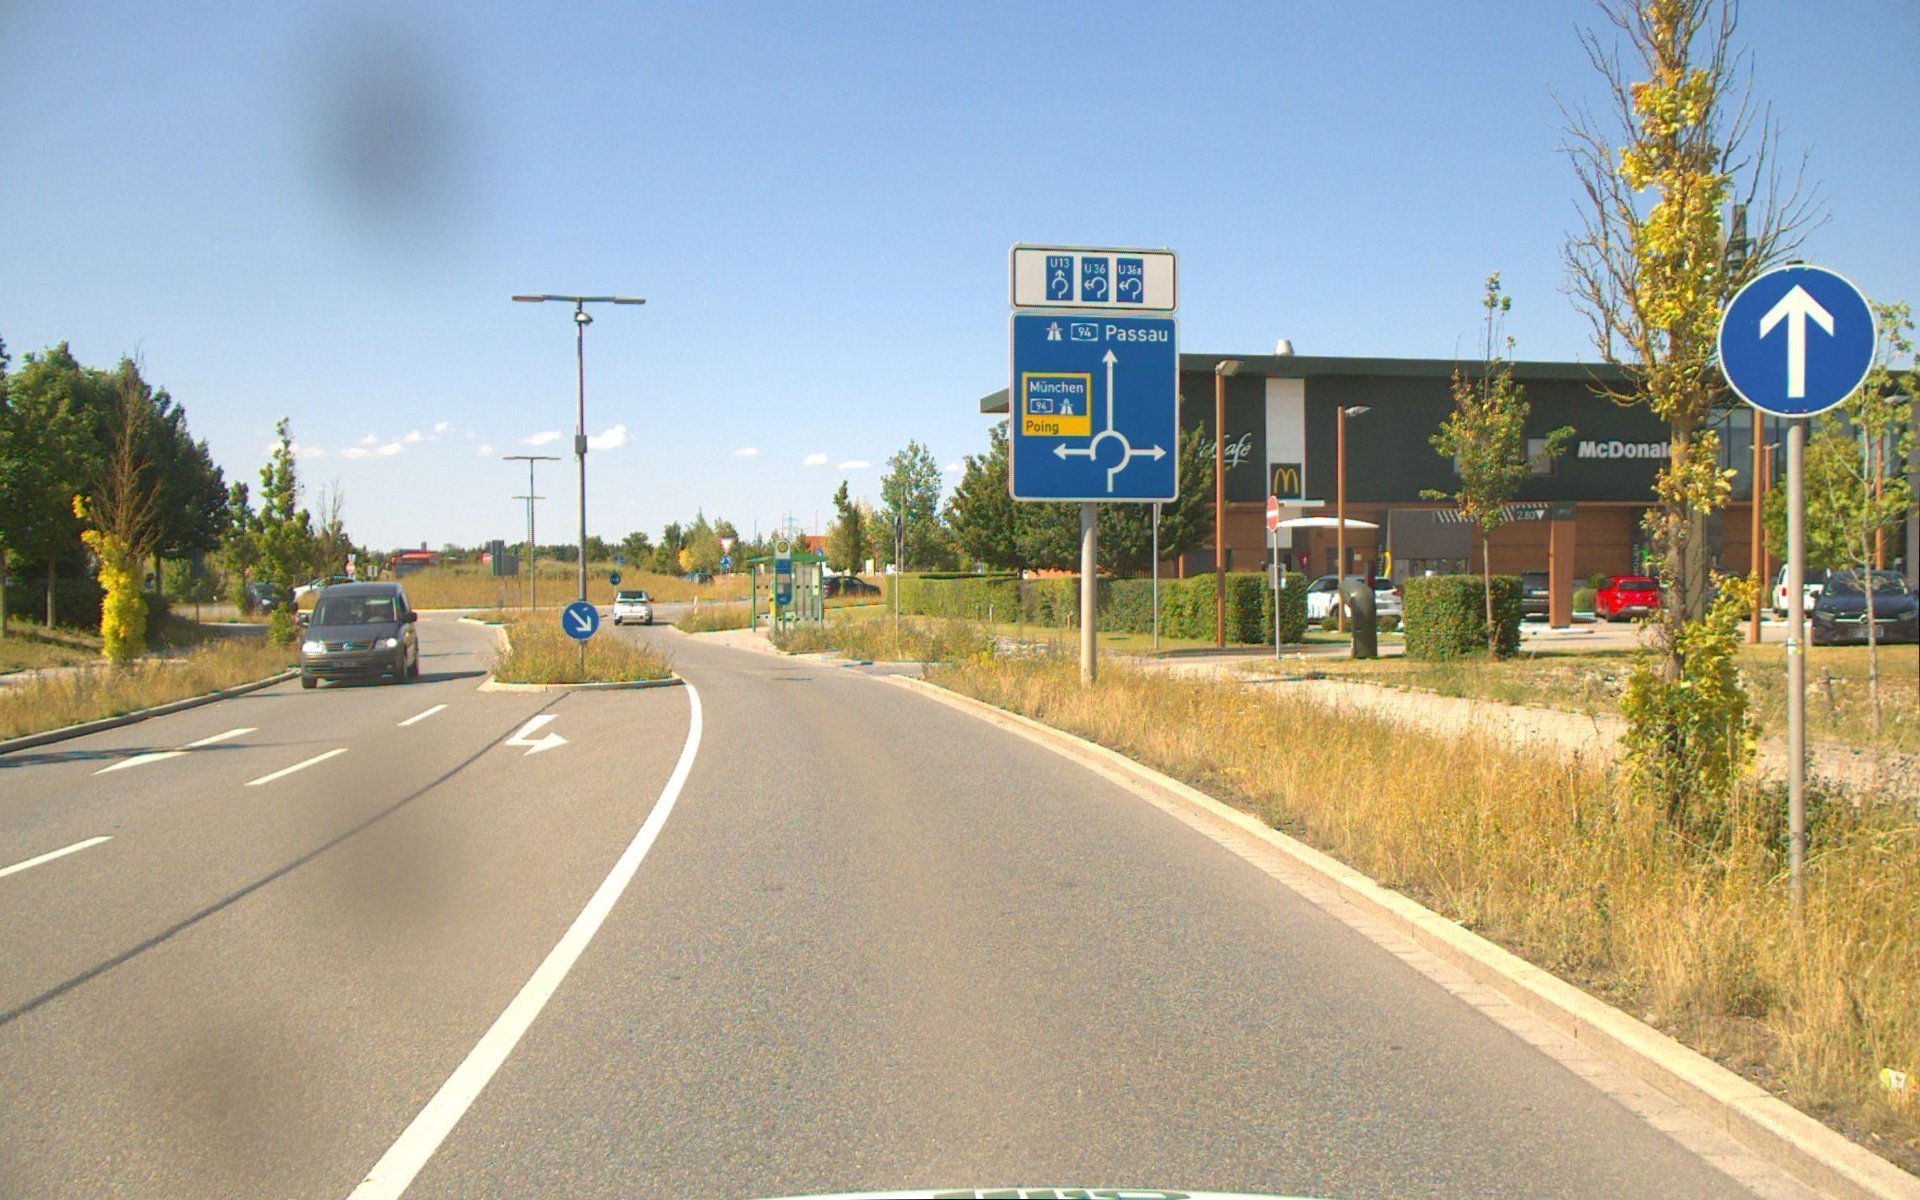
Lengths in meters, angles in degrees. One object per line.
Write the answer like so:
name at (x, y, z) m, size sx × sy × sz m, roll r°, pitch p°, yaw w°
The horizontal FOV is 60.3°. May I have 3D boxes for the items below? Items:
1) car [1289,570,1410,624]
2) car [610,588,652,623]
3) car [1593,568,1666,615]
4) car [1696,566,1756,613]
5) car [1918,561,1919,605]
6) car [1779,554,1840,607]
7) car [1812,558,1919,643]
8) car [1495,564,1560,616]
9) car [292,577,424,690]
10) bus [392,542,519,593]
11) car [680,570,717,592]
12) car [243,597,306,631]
car at (11.320, -0.091, 48.370) m, size 1.763 × 1.459 × 3.984 m, roll -1°, pitch 0°, yaw -15°
car at (-14.413, 0.217, 72.446) m, size 1.589 × 1.459 × 3.778 m, roll -1°, pitch 0°, yaw -14°
car at (22.296, -0.301, 55.192) m, size 1.754 × 1.459 × 4.003 m, roll -1°, pitch 0°, yaw 15°
car at (25.898, -0.372, 55.972) m, size 1.757 × 1.539 × 3.998 m, roll -1°, pitch 1°, yaw 25°
car at (35.698, -0.645, 59.187) m, size 1.766 × 1.547 × 3.978 m, roll -1°, pitch 1°, yaw 41°
car at (29.460, -0.690, 57.445) m, size 1.757 × 1.731 × 3.997 m, roll -1°, pitch 1°, yaw 26°
car at (16.837, -0.018, 30.843) m, size 1.664 × 1.487 × 4.164 m, roll -1°, pitch 1°, yaw 28°
car at (18.616, -0.342, 54.355) m, size 1.754 × 1.632 × 4.003 m, roll -1°, pitch 0°, yaw 15°
car at (-10.925, 0.543, 30.279) m, size 1.920 × 1.825 × 4.407 m, roll -2°, pitch 1°, yaw -16°
bus at (-35.573, -2.390, 117.272) m, size 2.727 × 3.132 × 12.217 m, roll -1°, pitch 3°, yaw 13°
car at (-17.770, -1.281, 112.333) m, size 1.595 × 1.459 × 3.765 m, roll -1°, pitch 0°, yaw -23°
car at (-34.058, 0.698, 82.111) m, size 1.748 × 1.570 × 4.180 m, roll -4°, pitch 1°, yaw -39°
